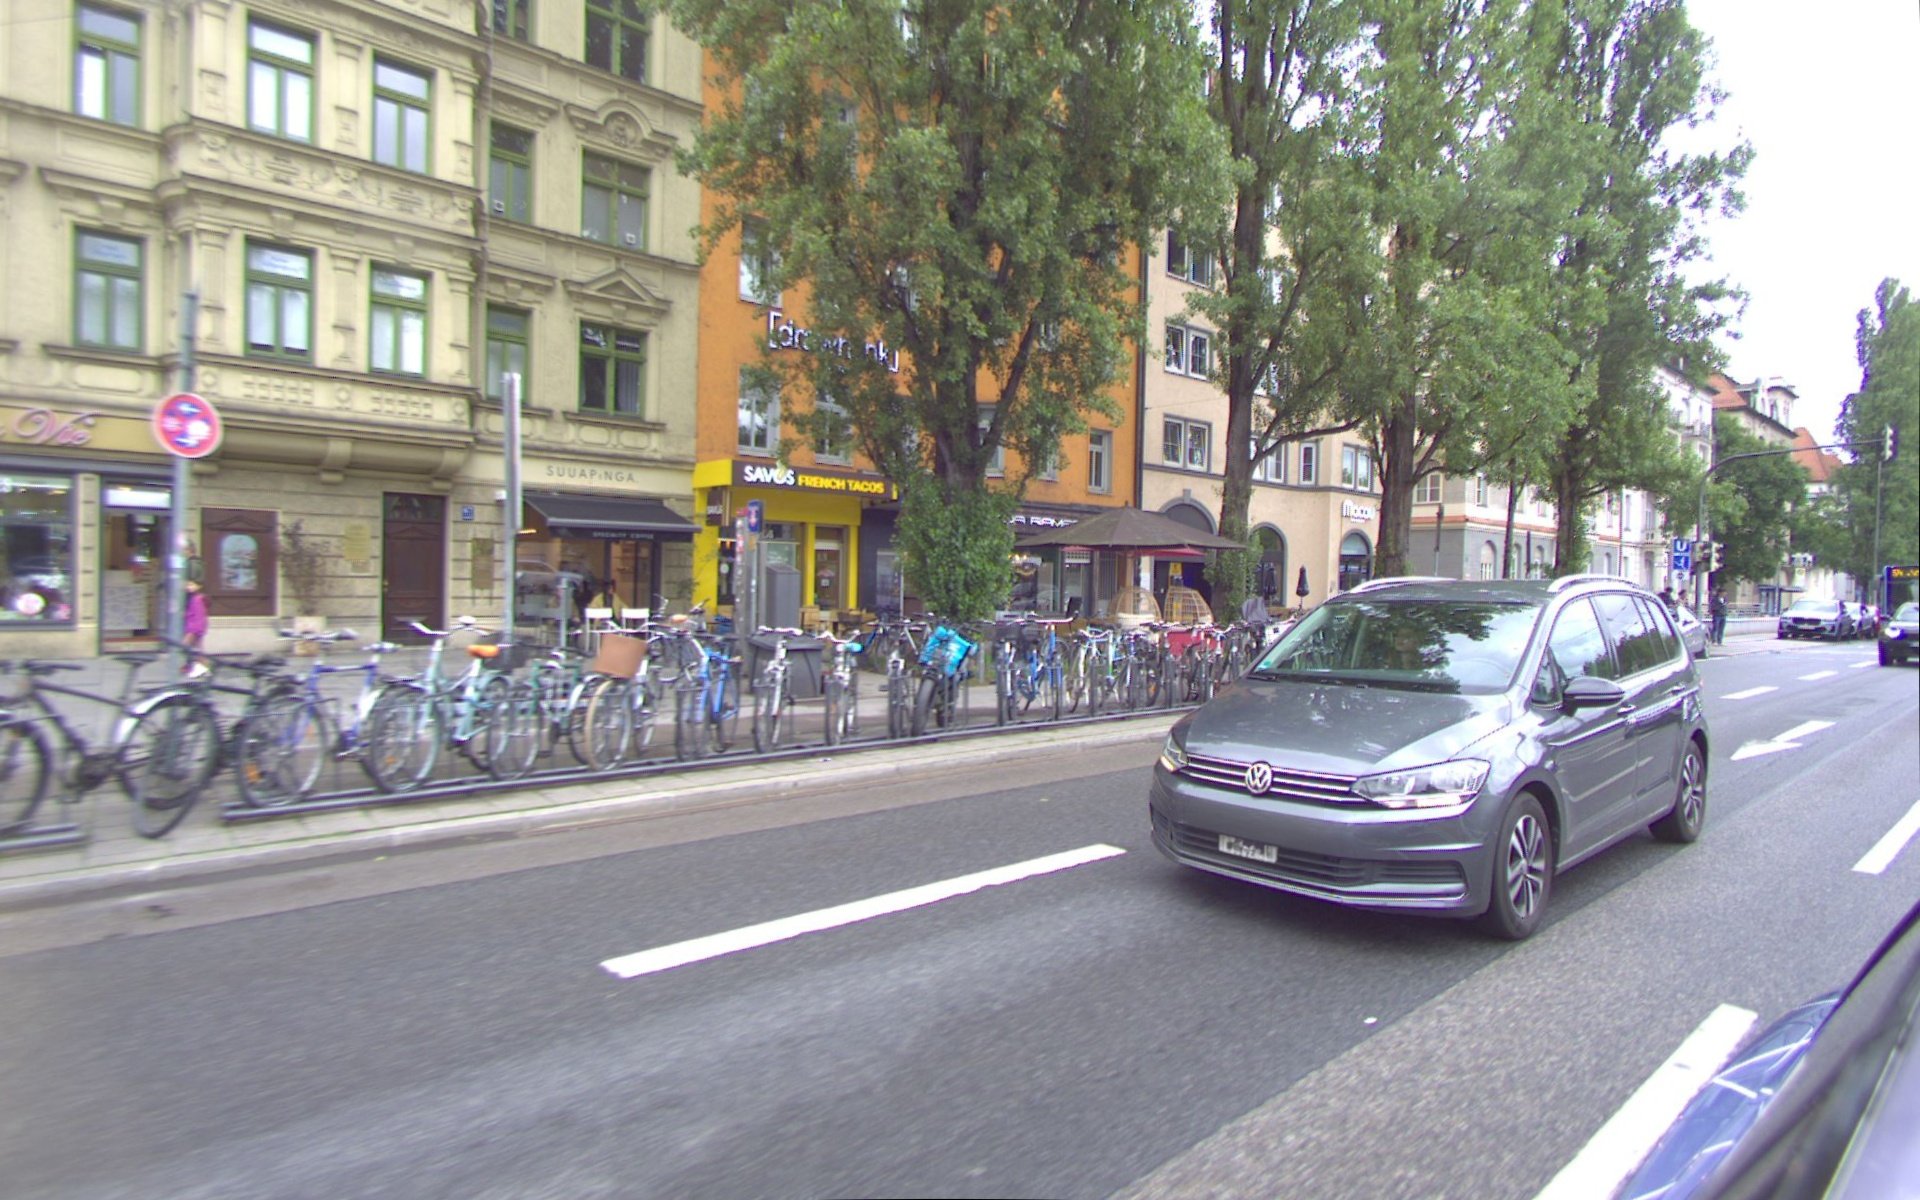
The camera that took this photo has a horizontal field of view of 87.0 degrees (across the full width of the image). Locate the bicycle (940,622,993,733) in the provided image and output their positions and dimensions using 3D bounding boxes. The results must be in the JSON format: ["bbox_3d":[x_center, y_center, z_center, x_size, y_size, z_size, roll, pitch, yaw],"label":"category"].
[{"bbox_3d":[0.091,0.749,10.498,0.319,1.008,1.838,1,0,7],"label":"bicycle"}]

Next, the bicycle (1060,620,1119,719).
[{"bbox_3d":[1.472,0.753,11.682,0.319,1.008,1.843,2,0,-3],"label":"bicycle"}]

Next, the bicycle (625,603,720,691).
[{"bbox_3d":[-3.855,0.597,13.476,1.723,1.059,0.381,1,-1,44],"label":"bicycle"}]

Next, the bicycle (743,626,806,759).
[{"bbox_3d":[-1.631,0.769,9.058,0.319,1.008,1.843,2,0,-4],"label":"bicycle"}]

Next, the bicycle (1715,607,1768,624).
[{"bbox_3d":[43.947,0.862,56.904,2.307,0.933,0.580,0,0,33],"label":"bicycle"}]

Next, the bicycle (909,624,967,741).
[{"bbox_3d":[-0.195,0.770,10.106,0.319,1.008,1.839,1,0,6],"label":"bicycle"}]

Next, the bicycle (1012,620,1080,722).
[{"bbox_3d":[0.936,0.751,11.324,0.318,1.008,1.845,2,0,-8],"label":"bicycle"}]

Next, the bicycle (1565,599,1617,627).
[{"bbox_3d":[26.922,0.544,43.180,1.855,1.169,0.464,0,0,8],"label":"bicycle"}]

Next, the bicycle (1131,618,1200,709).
[{"bbox_3d":[2.537,0.756,12.651,0.368,1.008,1.843,2,0,-3],"label":"bicycle"}]

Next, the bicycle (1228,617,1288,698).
[{"bbox_3d":[4.105,0.757,14.026,0.368,1.008,1.840,2,0,3],"label":"bicycle"}]

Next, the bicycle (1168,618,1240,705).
[{"bbox_3d":[3.128,0.756,13.088,0.368,1.008,1.843,2,0,-3],"label":"bicycle"}]

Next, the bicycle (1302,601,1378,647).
[{"bbox_3d":[10.118,0.626,26.996,0.450,1.127,1.890,0,1,-42],"label":"bicycle"}]

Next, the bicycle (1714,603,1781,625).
[{"bbox_3d":[43.748,0.745,56.247,2.899,1.163,0.633,0,0,33],"label":"bicycle"}]

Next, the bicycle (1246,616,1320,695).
[{"bbox_3d":[4.570,0.758,14.422,0.368,1.008,1.843,2,0,-2],"label":"bicycle"}]

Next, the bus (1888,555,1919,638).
[{"bbox_3d":[38.791,-0.114,39.543,9.299,3.012,2.635,0,-1,-41],"label":"bus"}]

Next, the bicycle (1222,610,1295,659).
[{"bbox_3d":[5.934,0.666,20.056,1.861,0.903,0.457,0,1,-42],"label":"bicycle"}]

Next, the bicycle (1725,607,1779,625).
[{"bbox_3d":[43.492,0.858,55.610,2.307,0.933,0.580,0,0,33],"label":"bicycle"}]

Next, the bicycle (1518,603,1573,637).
[{"bbox_3d":[19.662,0.660,34.013,0.385,1.063,1.575,0,0,-39],"label":"bicycle"}]

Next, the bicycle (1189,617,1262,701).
[{"bbox_3d":[3.531,0.757,13.582,0.368,1.008,1.843,2,0,-3],"label":"bicycle"}]

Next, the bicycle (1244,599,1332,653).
[{"bbox_3d":[7.149,0.545,22.133,0.450,1.067,1.892,0,1,-38],"label":"bicycle"}]

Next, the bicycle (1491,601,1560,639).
[{"bbox_3d":[17.258,0.595,30.920,0.439,1.124,1.801,1,-1,-38],"label":"bicycle"}]

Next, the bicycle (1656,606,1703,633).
[{"bbox_3d":[28.529,0.778,40.133,1.801,1.036,0.447,0,0,-14],"label":"bicycle"}]

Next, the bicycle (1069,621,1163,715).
[{"bbox_3d":[1.862,0.788,12.329,0.367,1.008,1.846,2,0,-16],"label":"bicycle"}]

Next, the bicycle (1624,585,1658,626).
[{"bbox_3d":[22.297,0.181,33.143,1.747,1.304,0.424,0,1,-40],"label":"bicycle"}]

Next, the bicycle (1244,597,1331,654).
[{"bbox_3d":[7.431,0.549,23.040,0.571,1.188,1.892,0,1,-38],"label":"bicycle"}]

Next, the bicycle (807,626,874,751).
[{"bbox_3d":[-1.091,0.770,9.501,0.319,1.008,1.841,2,0,2],"label":"bicycle"}]

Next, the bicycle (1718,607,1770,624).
[{"bbox_3d":[45.328,0.866,58.566,0.629,0.933,2.319,0,0,-43],"label":"bicycle"}]

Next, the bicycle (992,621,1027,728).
[{"bbox_3d":[0.515,0.750,10.830,0.319,1.008,1.841,2,0,2],"label":"bicycle"}]

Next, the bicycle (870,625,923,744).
[{"bbox_3d":[-0.594,0.770,9.906,0.319,1.008,1.841,2,0,2],"label":"bicycle"}]

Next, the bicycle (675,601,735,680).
[{"bbox_3d":[-3.740,0.564,14.772,0.379,1.059,1.730,2,0,-29],"label":"bicycle"}]
